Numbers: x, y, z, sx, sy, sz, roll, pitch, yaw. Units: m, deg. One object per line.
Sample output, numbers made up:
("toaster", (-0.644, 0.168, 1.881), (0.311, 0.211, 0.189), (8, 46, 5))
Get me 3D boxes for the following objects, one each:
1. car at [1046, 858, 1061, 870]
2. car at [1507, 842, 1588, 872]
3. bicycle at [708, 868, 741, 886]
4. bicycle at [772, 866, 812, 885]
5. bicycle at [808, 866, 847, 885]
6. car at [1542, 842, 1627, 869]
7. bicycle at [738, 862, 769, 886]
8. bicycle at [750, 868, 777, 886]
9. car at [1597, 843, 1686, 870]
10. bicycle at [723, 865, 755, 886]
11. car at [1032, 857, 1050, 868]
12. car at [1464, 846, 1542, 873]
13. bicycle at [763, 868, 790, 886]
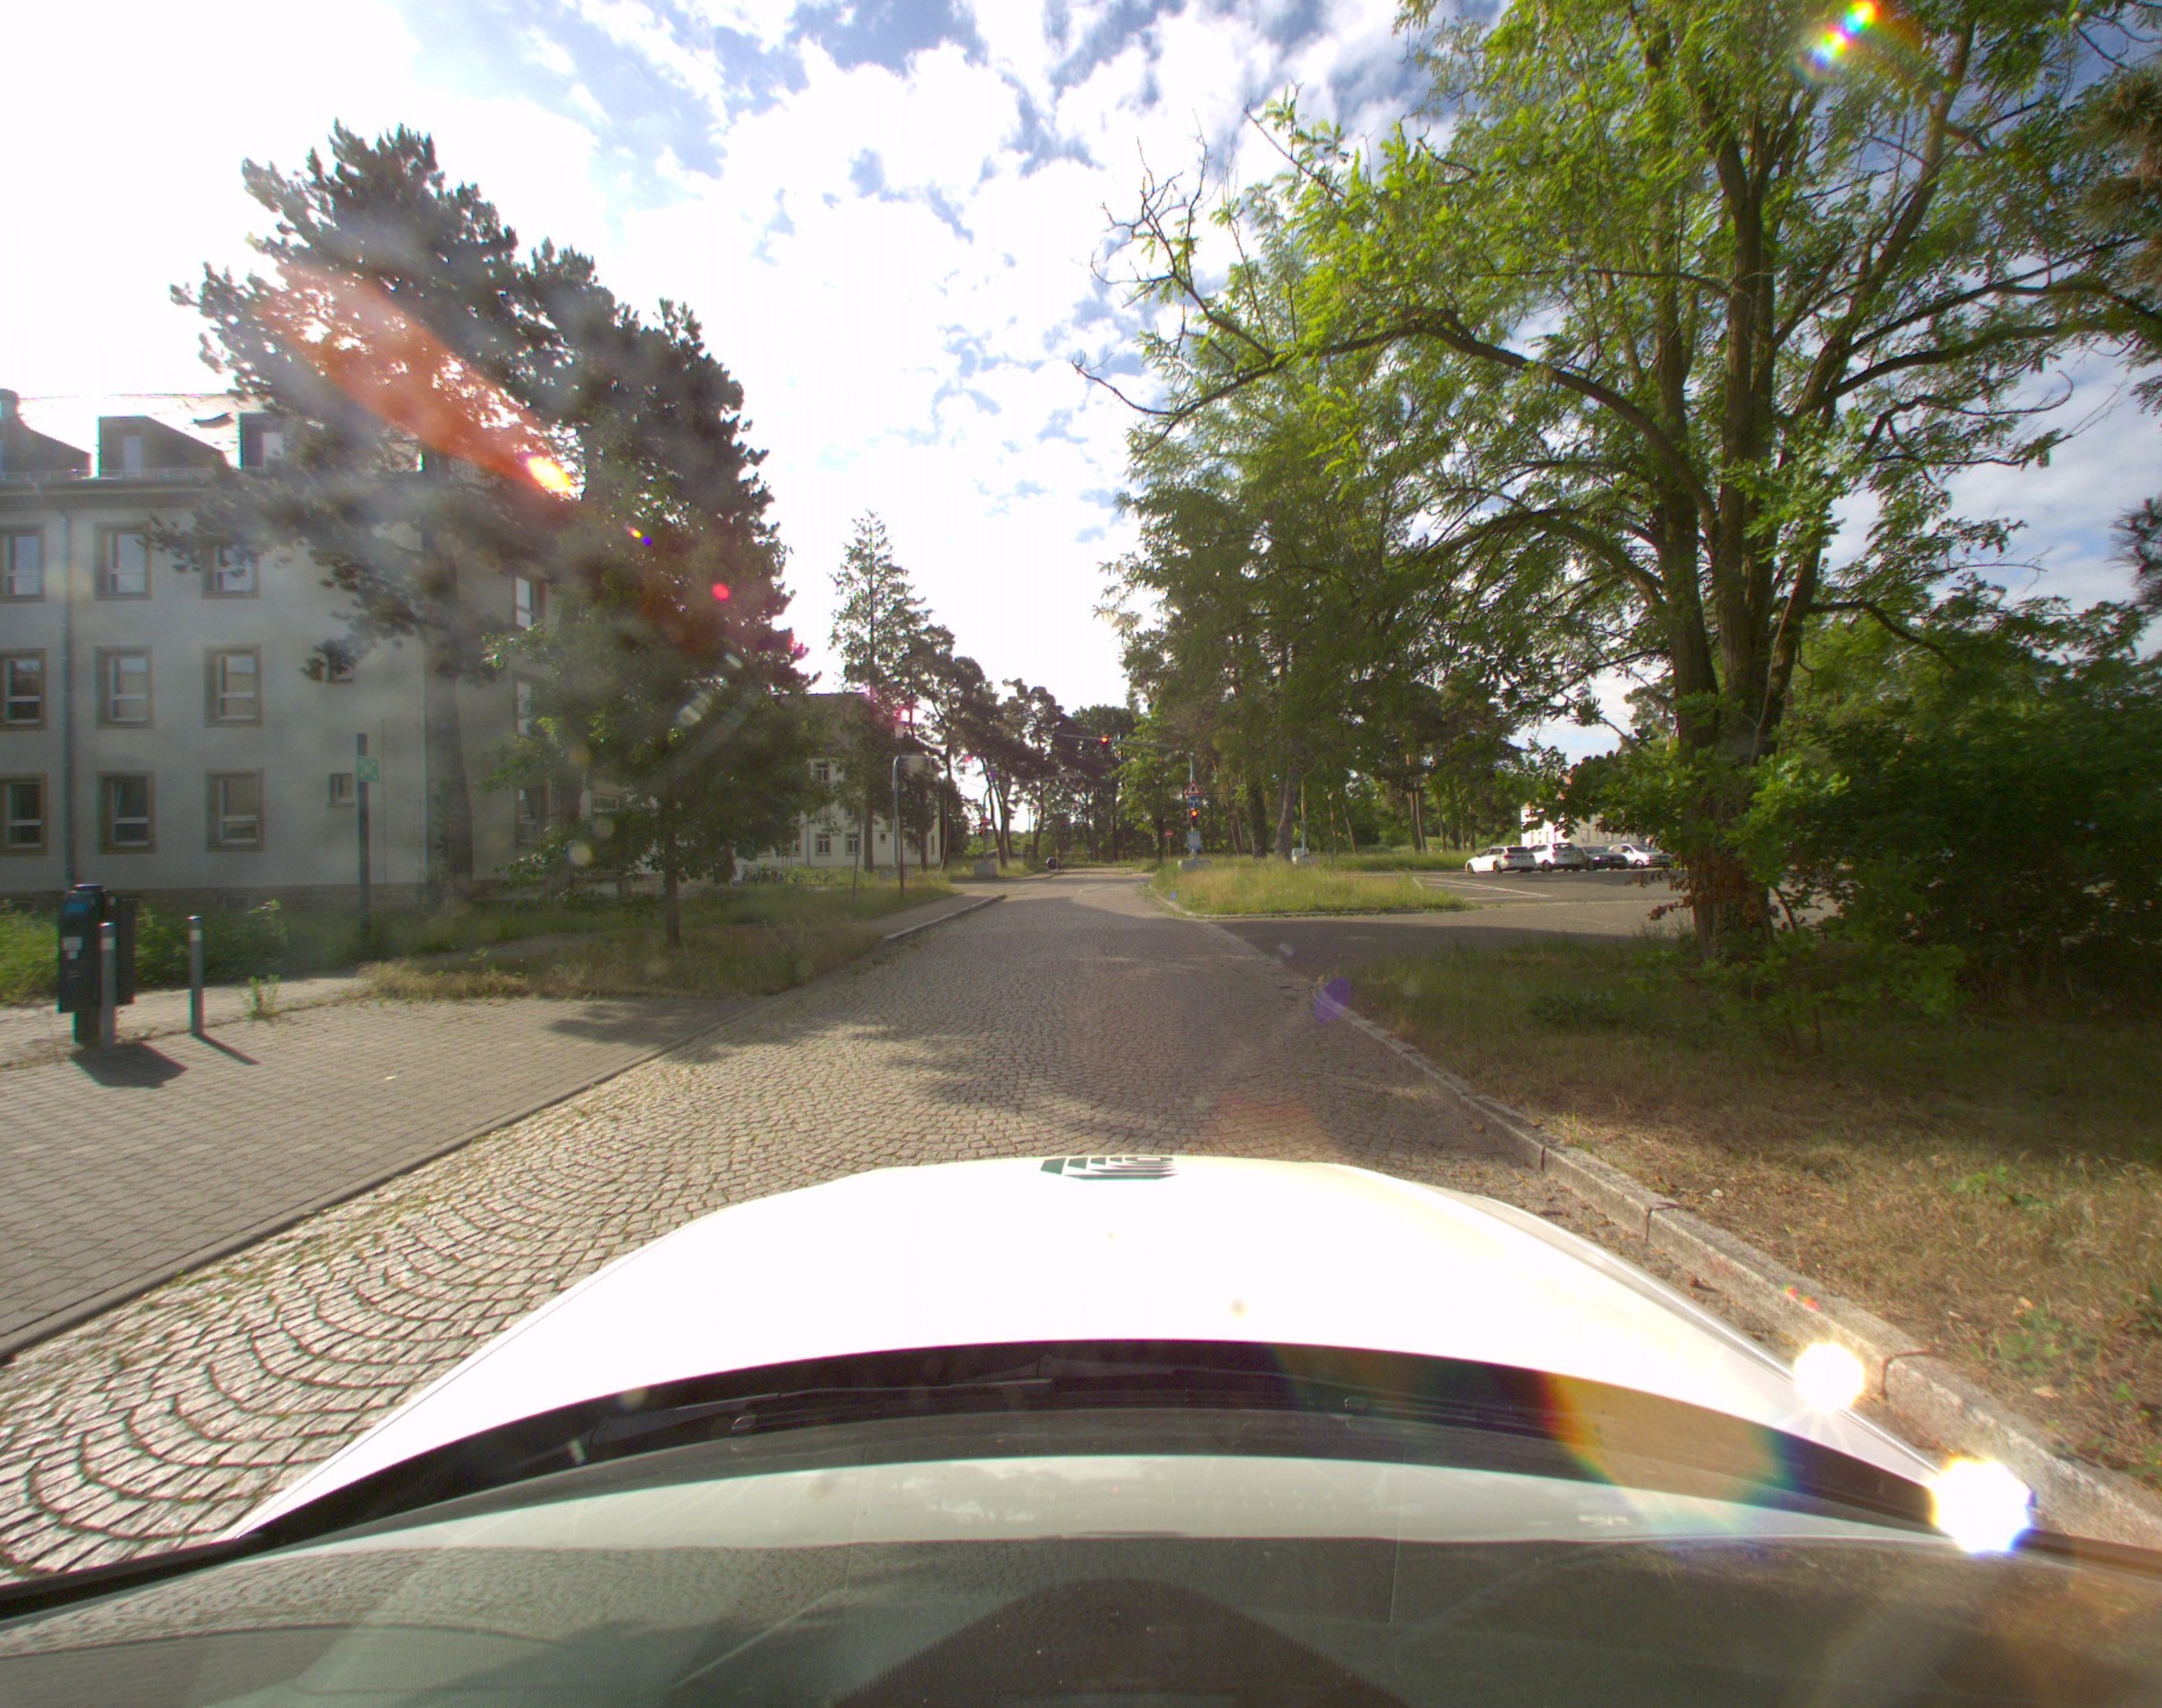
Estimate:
("car", (-3.586, 1.334, 106.907), (1.840, 1.486, 3.998), (-1, 0, -1))
("car", (24.742, 0.167, 43.361), (1.726, 1.476, 4.328), (-1, 0, -2))
("bicycle", (-22.255, 1.444, 50.890), (0.897, 1.047, 2.554), (-1, 0, 1))
("bicycle", (-17.589, 1.312, 49.606), (2.112, 1.108, 0.828), (-1, 0, -3))
("bicycle", (-15.467, 1.312, 49.684), (2.112, 1.047, 0.828), (-1, 0, -3))
("car", (26.933, 0.098, 43.718), (1.726, 1.312, 4.328), (-1, 0, -2))
("bicycle", (-20.580, 1.238, 51.180), (0.823, 1.437, 2.554), (-1, 0, 1))
("bicycle", (-19.794, 1.446, 50.831), (0.823, 1.047, 2.124), (-1, 0, 1))
("car", (30.097, 0.143, 43.901), (1.726, 1.312, 4.328), (-2, 0, -2))
("bicycle", (-21.357, 1.328, 50.884), (0.823, 1.281, 2.554), (-1, 0, 1))
("car", (-5.504, 1.183, 111.825), (1.772, 1.490, 3.764), (-1, 0, 8))
("car", (22.222, 0.253, 43.073), (1.726, 1.312, 4.328), (-1, 0, -2))
("bicycle", (-19.012, 1.447, 50.868), (0.823, 1.047, 2.124), (-1, 0, 1))
